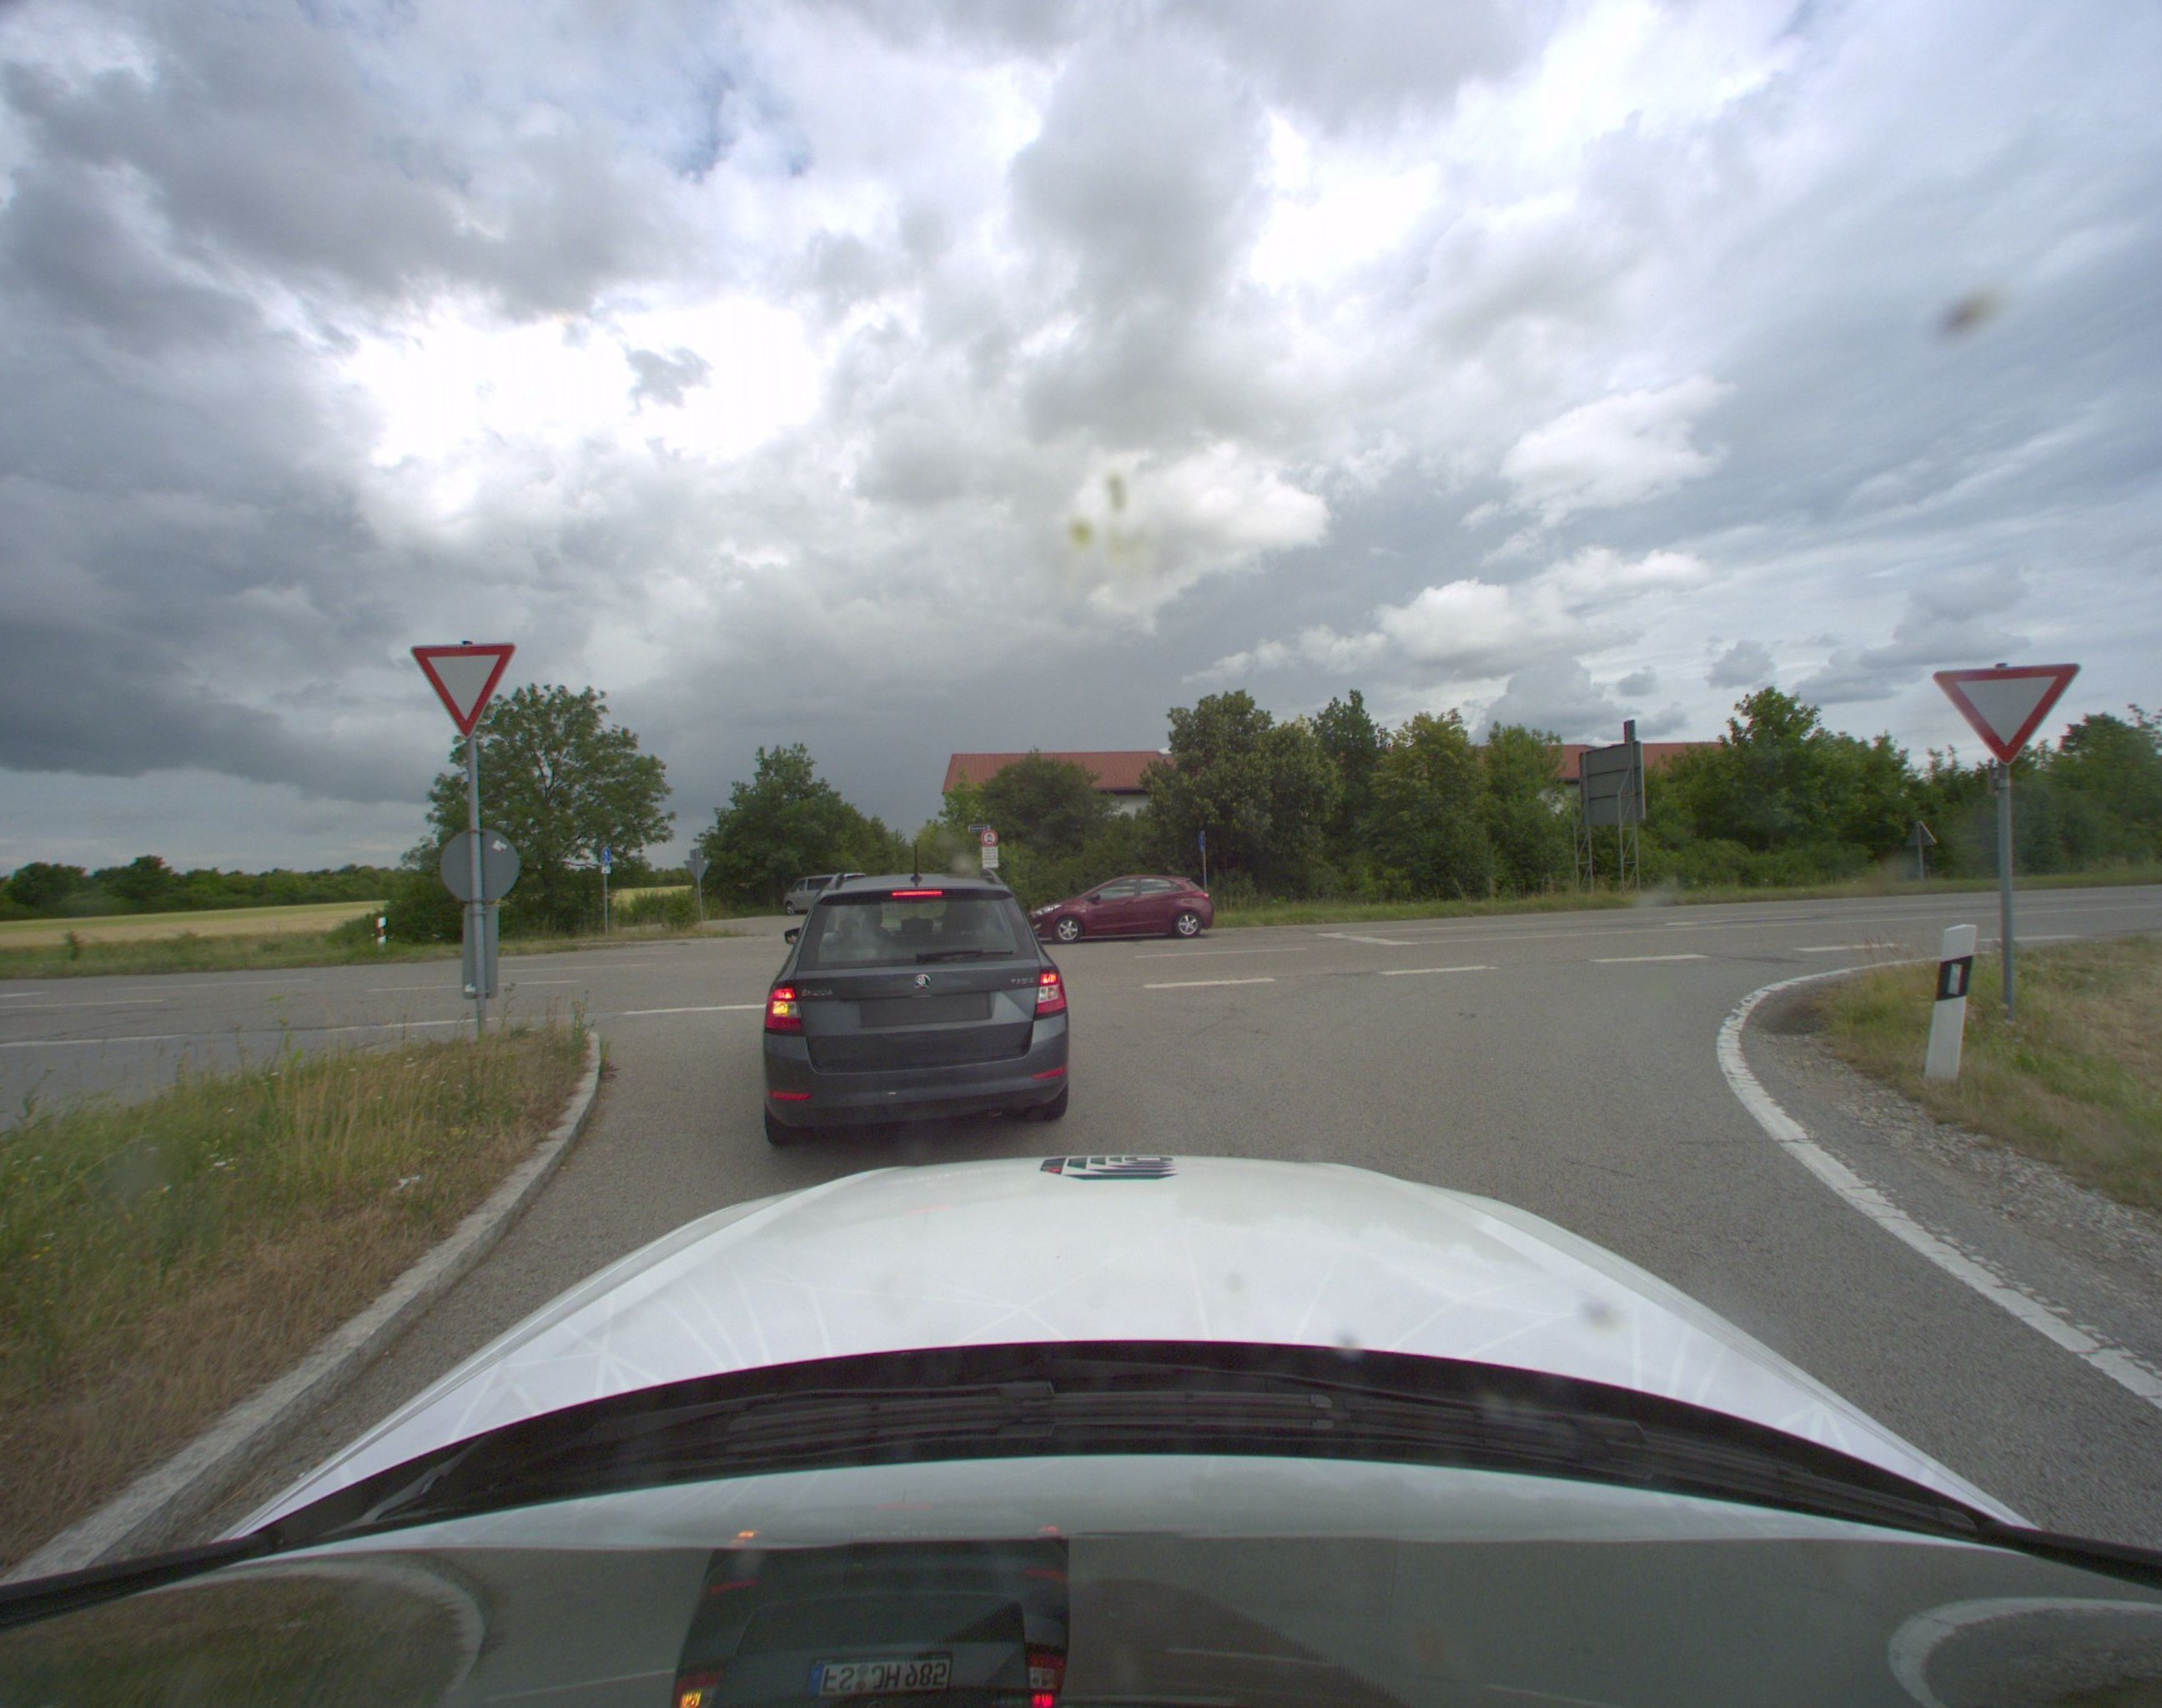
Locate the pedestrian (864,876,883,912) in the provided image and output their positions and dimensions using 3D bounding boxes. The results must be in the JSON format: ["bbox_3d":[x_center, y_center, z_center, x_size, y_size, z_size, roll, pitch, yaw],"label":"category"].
[{"bbox_3d":[-10.373,2.000,40.730,0.523,1.725,0.646,-3,0,32],"label":"pedestrian"}]

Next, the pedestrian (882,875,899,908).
[{"bbox_3d":[-9.920,1.955,42.374,0.578,1.682,0.569,-3,0,20],"label":"pedestrian"}]

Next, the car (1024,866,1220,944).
[{"bbox_3d":[0.845,1.117,18.595,4.145,1.464,1.994,-3,-1,-8],"label":"car"}]

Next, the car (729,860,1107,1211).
[{"bbox_3d":[-1.184,0.821,5.541,1.679,1.463,3.688,-2,-1,-15],"label":"car"}]

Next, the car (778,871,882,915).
[{"bbox_3d":[-12.688,1.984,41.152,4.851,2.013,2.357,-3,0,33],"label":"car"}]
